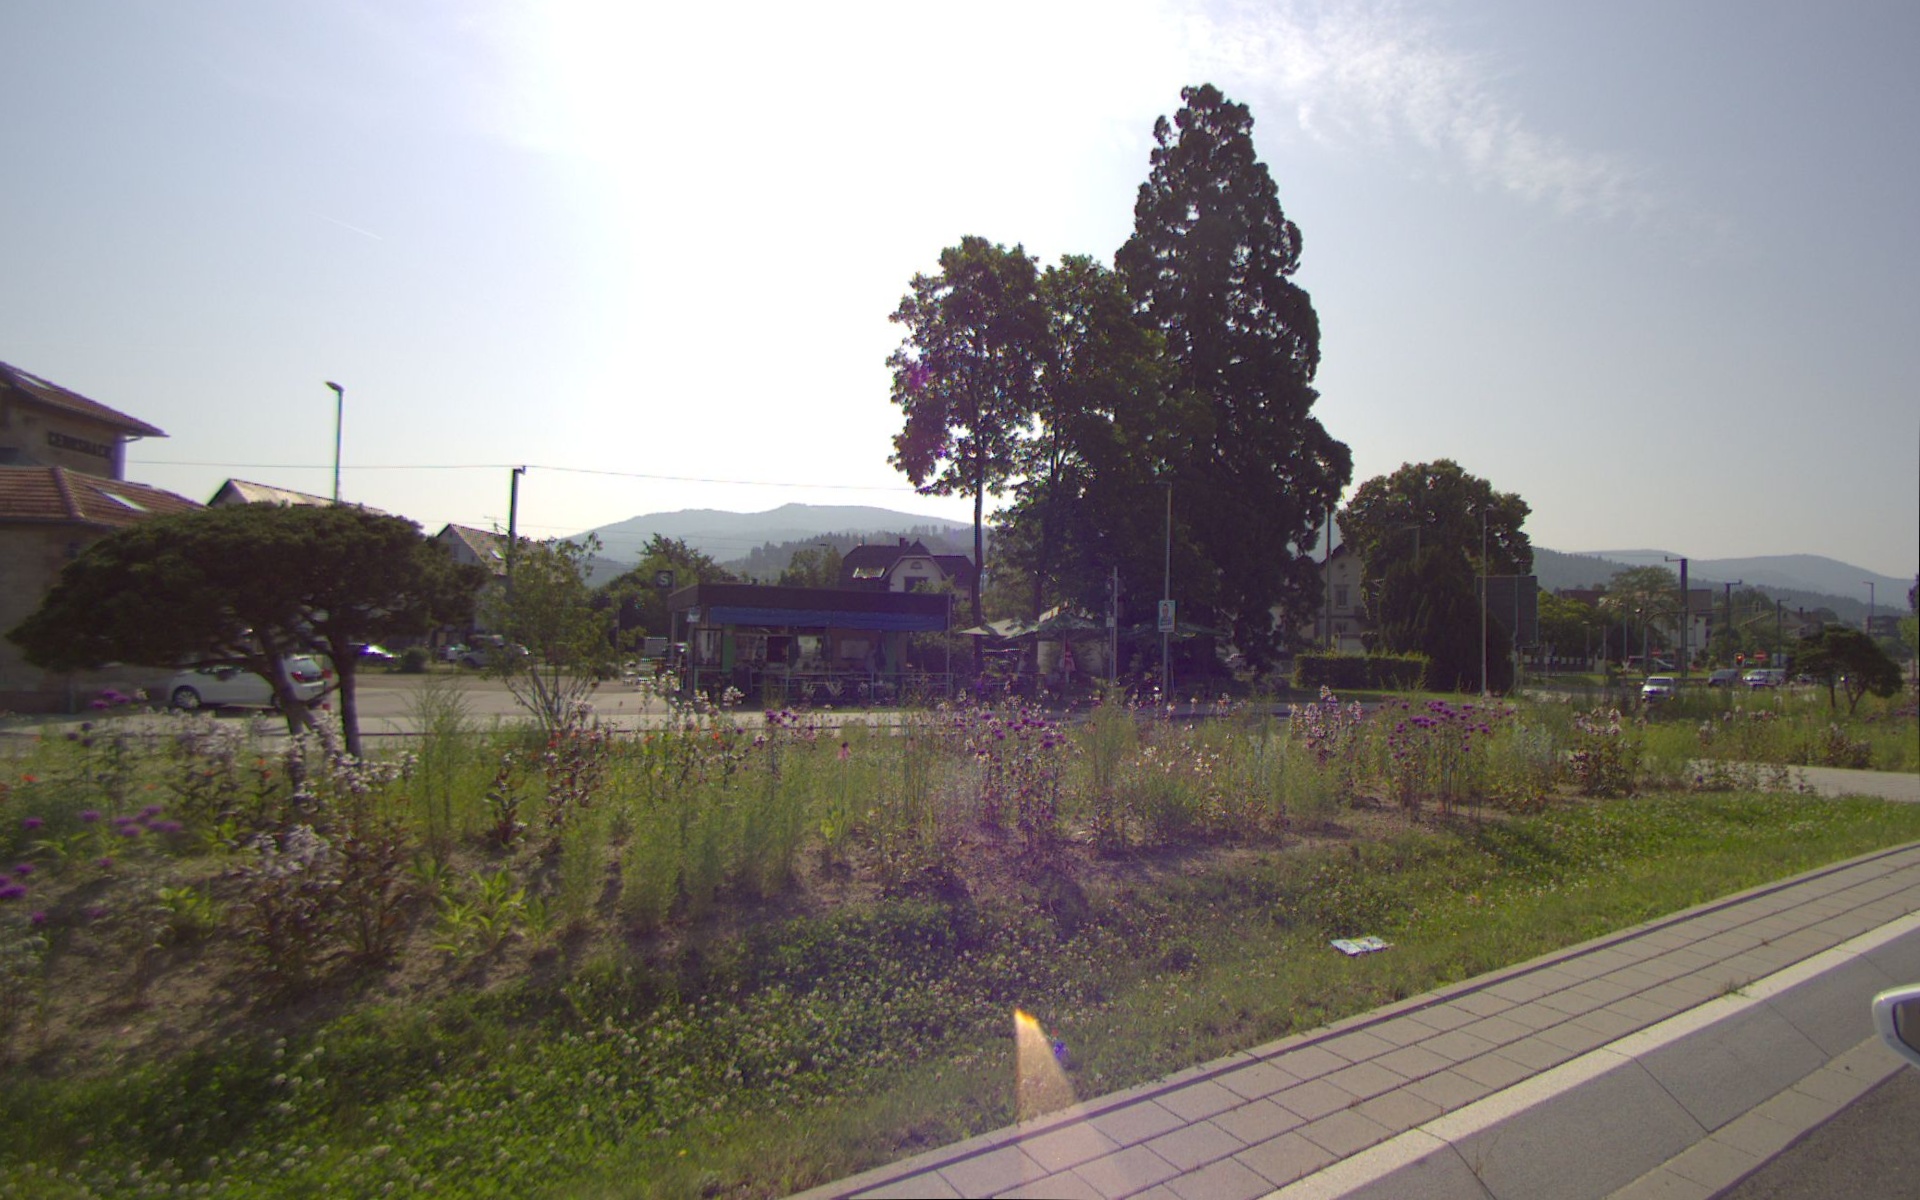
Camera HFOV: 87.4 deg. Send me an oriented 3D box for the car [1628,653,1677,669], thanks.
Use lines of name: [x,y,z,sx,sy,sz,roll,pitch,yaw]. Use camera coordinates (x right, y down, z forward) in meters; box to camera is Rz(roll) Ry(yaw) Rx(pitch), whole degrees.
car: [72.825,6.428,105.627,1.702,1.416,3.950,2,0,-42]

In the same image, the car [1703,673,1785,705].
car: [43.322,4.896,55.585,1.680,1.416,4.002,2,0,6]

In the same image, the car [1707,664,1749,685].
car: [61.677,5.967,80.657,3.964,1.416,1.696,2,0,-37]

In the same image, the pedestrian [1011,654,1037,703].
pedestrian: [2.171,2.642,34.052,0.563,1.611,0.643,2,0,-38]

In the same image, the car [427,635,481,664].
car: [-33.896,3.282,67.394,1.803,1.750,3.998,2,0,-4]

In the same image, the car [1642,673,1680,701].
car: [41.307,5.111,59.245,1.647,1.551,3.991,-1,-4,33]

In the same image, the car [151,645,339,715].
car: [-18.820,2.105,26.582,3.586,1.589,1.677,3,0,-10]

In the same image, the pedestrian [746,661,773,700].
pedestrian: [-6.334,2.537,31.700,0.672,1.179,0.555,2,0,-27]

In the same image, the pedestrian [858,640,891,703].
pedestrian: [-2.903,2.410,33.975,0.703,2.040,0.849,2,0,-38]

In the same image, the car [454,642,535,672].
car: [-27.118,3.306,58.588,3.927,1.639,1.780,1,0,-9]

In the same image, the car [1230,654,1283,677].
car: [22.810,5.027,77.293,3.580,1.514,1.607,3,0,-1]

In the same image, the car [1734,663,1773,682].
car: [67.768,6.176,85.753,3.964,1.416,1.696,2,0,-37]

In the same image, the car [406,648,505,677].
car: [-22.389,2.781,44.701,3.678,1.193,1.424,1,0,-15]
